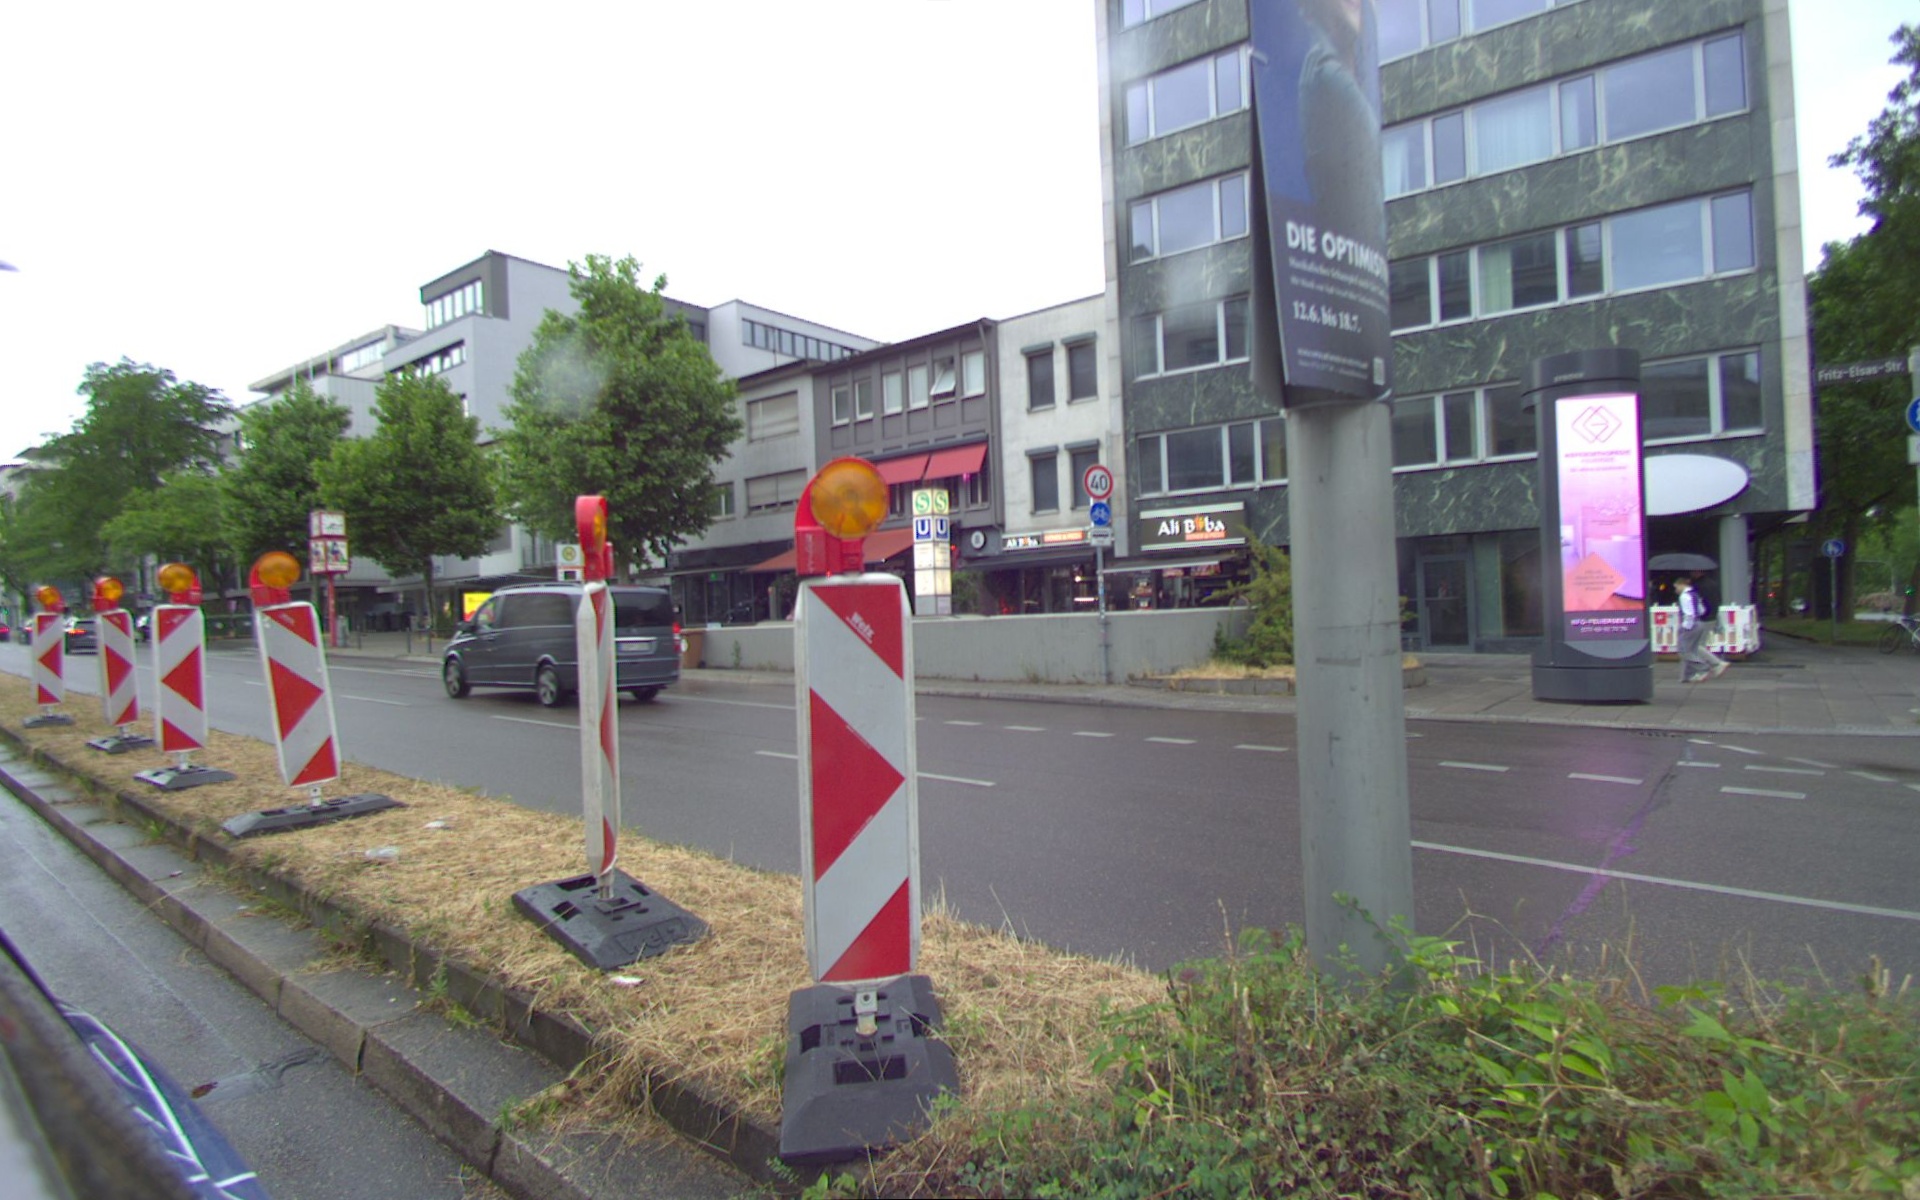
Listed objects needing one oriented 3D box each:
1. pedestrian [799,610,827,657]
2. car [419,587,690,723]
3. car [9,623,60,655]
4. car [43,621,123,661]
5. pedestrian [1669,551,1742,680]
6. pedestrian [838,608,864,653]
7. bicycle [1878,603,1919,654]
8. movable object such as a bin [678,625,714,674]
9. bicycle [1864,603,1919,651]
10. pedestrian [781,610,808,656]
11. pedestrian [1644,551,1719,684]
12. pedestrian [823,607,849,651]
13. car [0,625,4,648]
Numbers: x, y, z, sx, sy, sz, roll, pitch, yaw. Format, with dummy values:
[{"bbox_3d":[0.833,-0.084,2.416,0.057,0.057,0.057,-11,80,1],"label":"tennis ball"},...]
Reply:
[{"bbox_3d":[-4.873,1.093,33.558,0.611,1.540,0.660,-2,-1,44],"label":"pedestrian"},{"bbox_3d":[-6.866,0.762,16.885,4.958,1.942,1.975,1,1,38],"label":"car"},{"bbox_3d":[-51.931,2.190,56.771,4.211,1.442,1.670,-8,-5,41],"label":"car"},{"bbox_3d":[-35.459,1.650,40.892,4.285,1.522,1.671,-2,-1,38],"label":"car"},{"bbox_3d":[12.040,0.251,16.359,0.588,2.029,0.730,0,-1,-29],"label":"pedestrian"},{"bbox_3d":[-3.768,1.044,35.019,0.611,1.540,0.660,-2,-1,44],"label":"pedestrian"},{"bbox_3d":[20.754,0.597,21.483,1.780,1.060,0.579,-1,-1,37],"label":"bicycle"},{"bbox_3d":[-6.114,1.131,23.453,0.660,1.109,0.501,-1,0,39],"label":"movable object such as a bin"},{"bbox_3d":[21.250,0.592,22.391,1.780,1.060,0.579,-1,-1,37],"label":"bicycle"},{"bbox_3d":[-5.651,1.109,34.504,0.611,1.540,0.660,-2,-1,44],"label":"pedestrian"},{"bbox_3d":[11.331,0.268,15.908,0.588,2.029,0.730,0,-1,-29],"label":"pedestrian"},{"bbox_3d":[-4.341,1.010,35.462,0.611,1.540,0.660,-2,-1,44],"label":"pedestrian"},{"bbox_3d":[-69.512,2.625,71.985,4.415,1.566,1.671,-2,-1,39],"label":"car"}]
